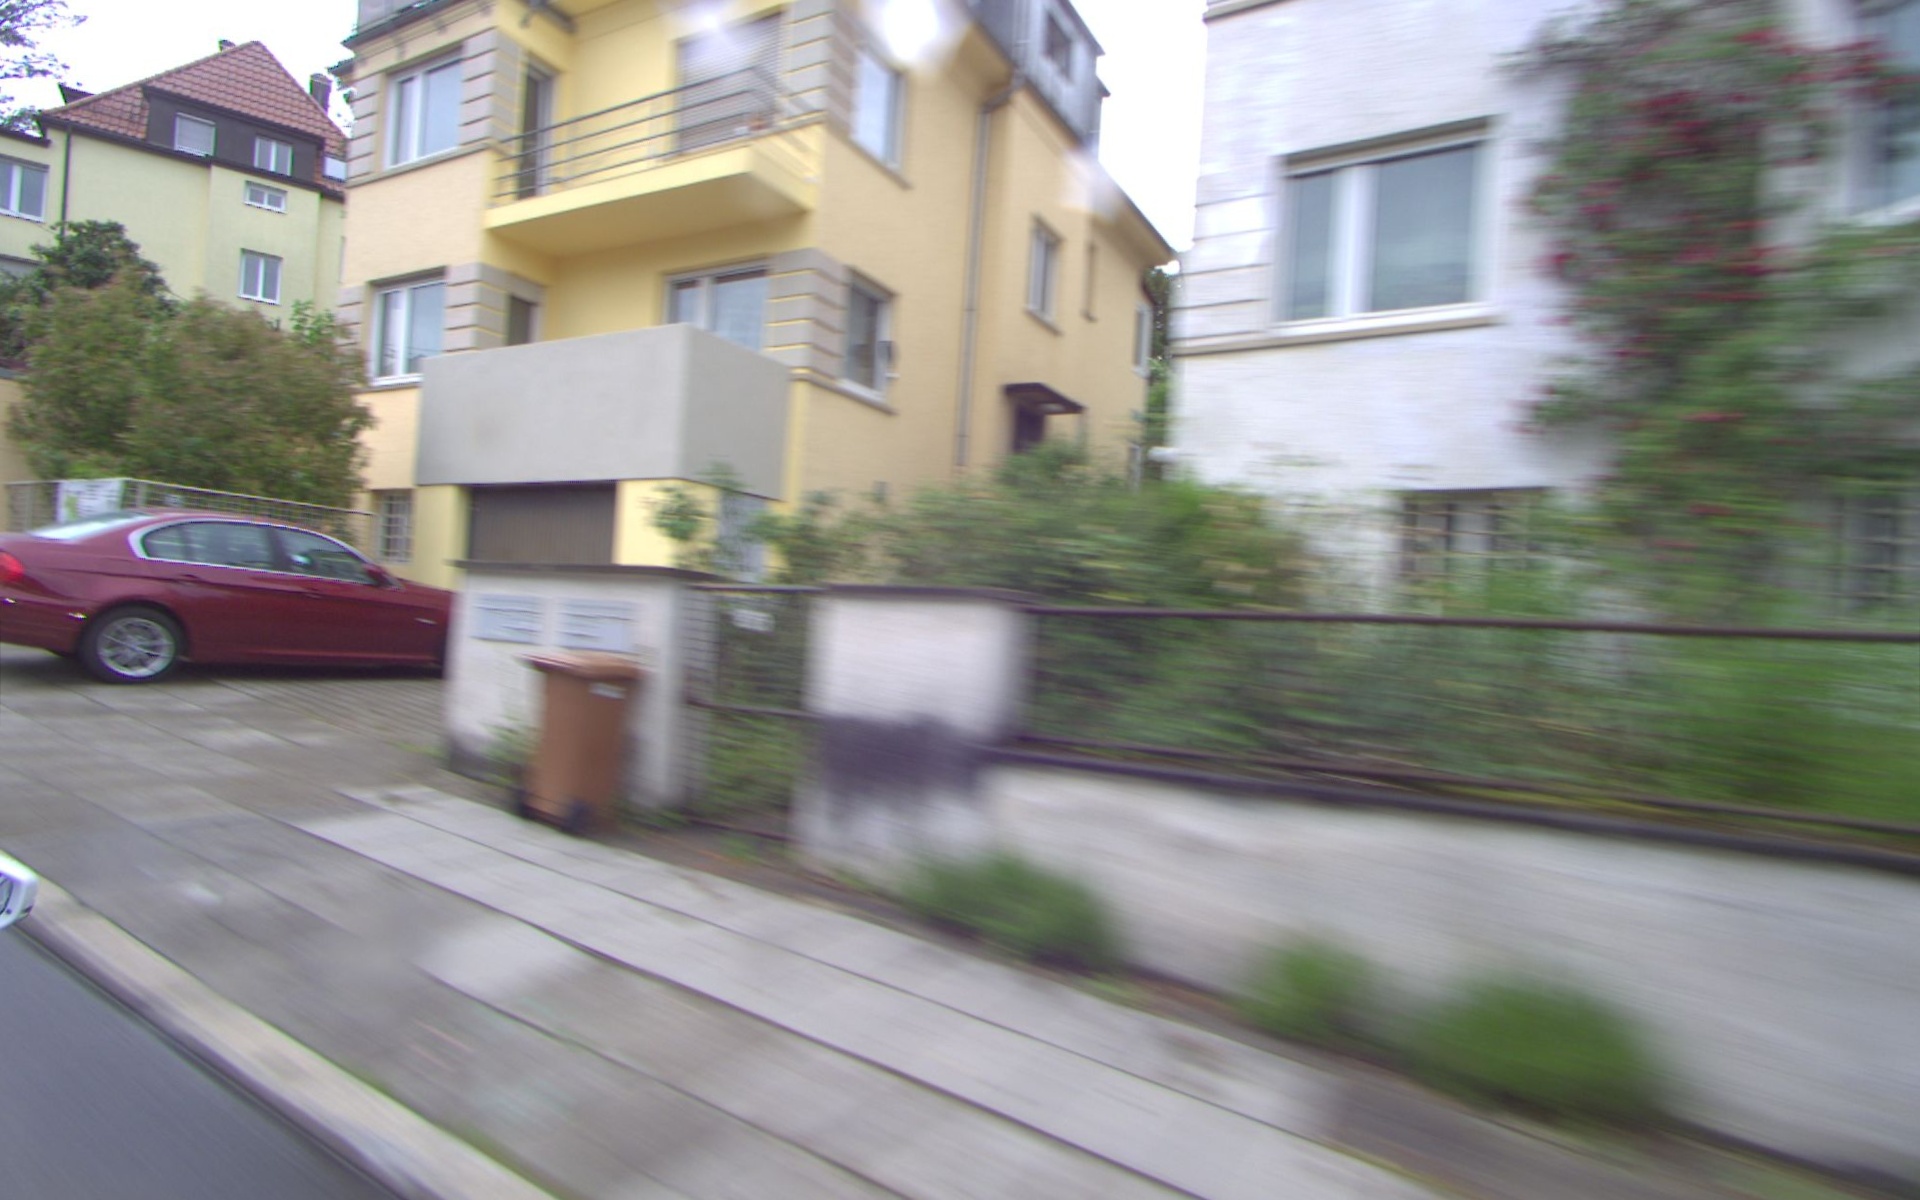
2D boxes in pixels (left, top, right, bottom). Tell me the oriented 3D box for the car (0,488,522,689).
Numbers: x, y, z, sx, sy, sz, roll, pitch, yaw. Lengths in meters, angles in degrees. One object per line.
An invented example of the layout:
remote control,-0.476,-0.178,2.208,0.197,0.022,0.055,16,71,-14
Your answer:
car,-6.546,-0.079,9.316,1.805,1.424,4.168,8,2,35

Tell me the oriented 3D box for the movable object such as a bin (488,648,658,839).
movable object such as a bin,-2.097,0.757,5.480,0.517,0.910,0.570,7,0,28
